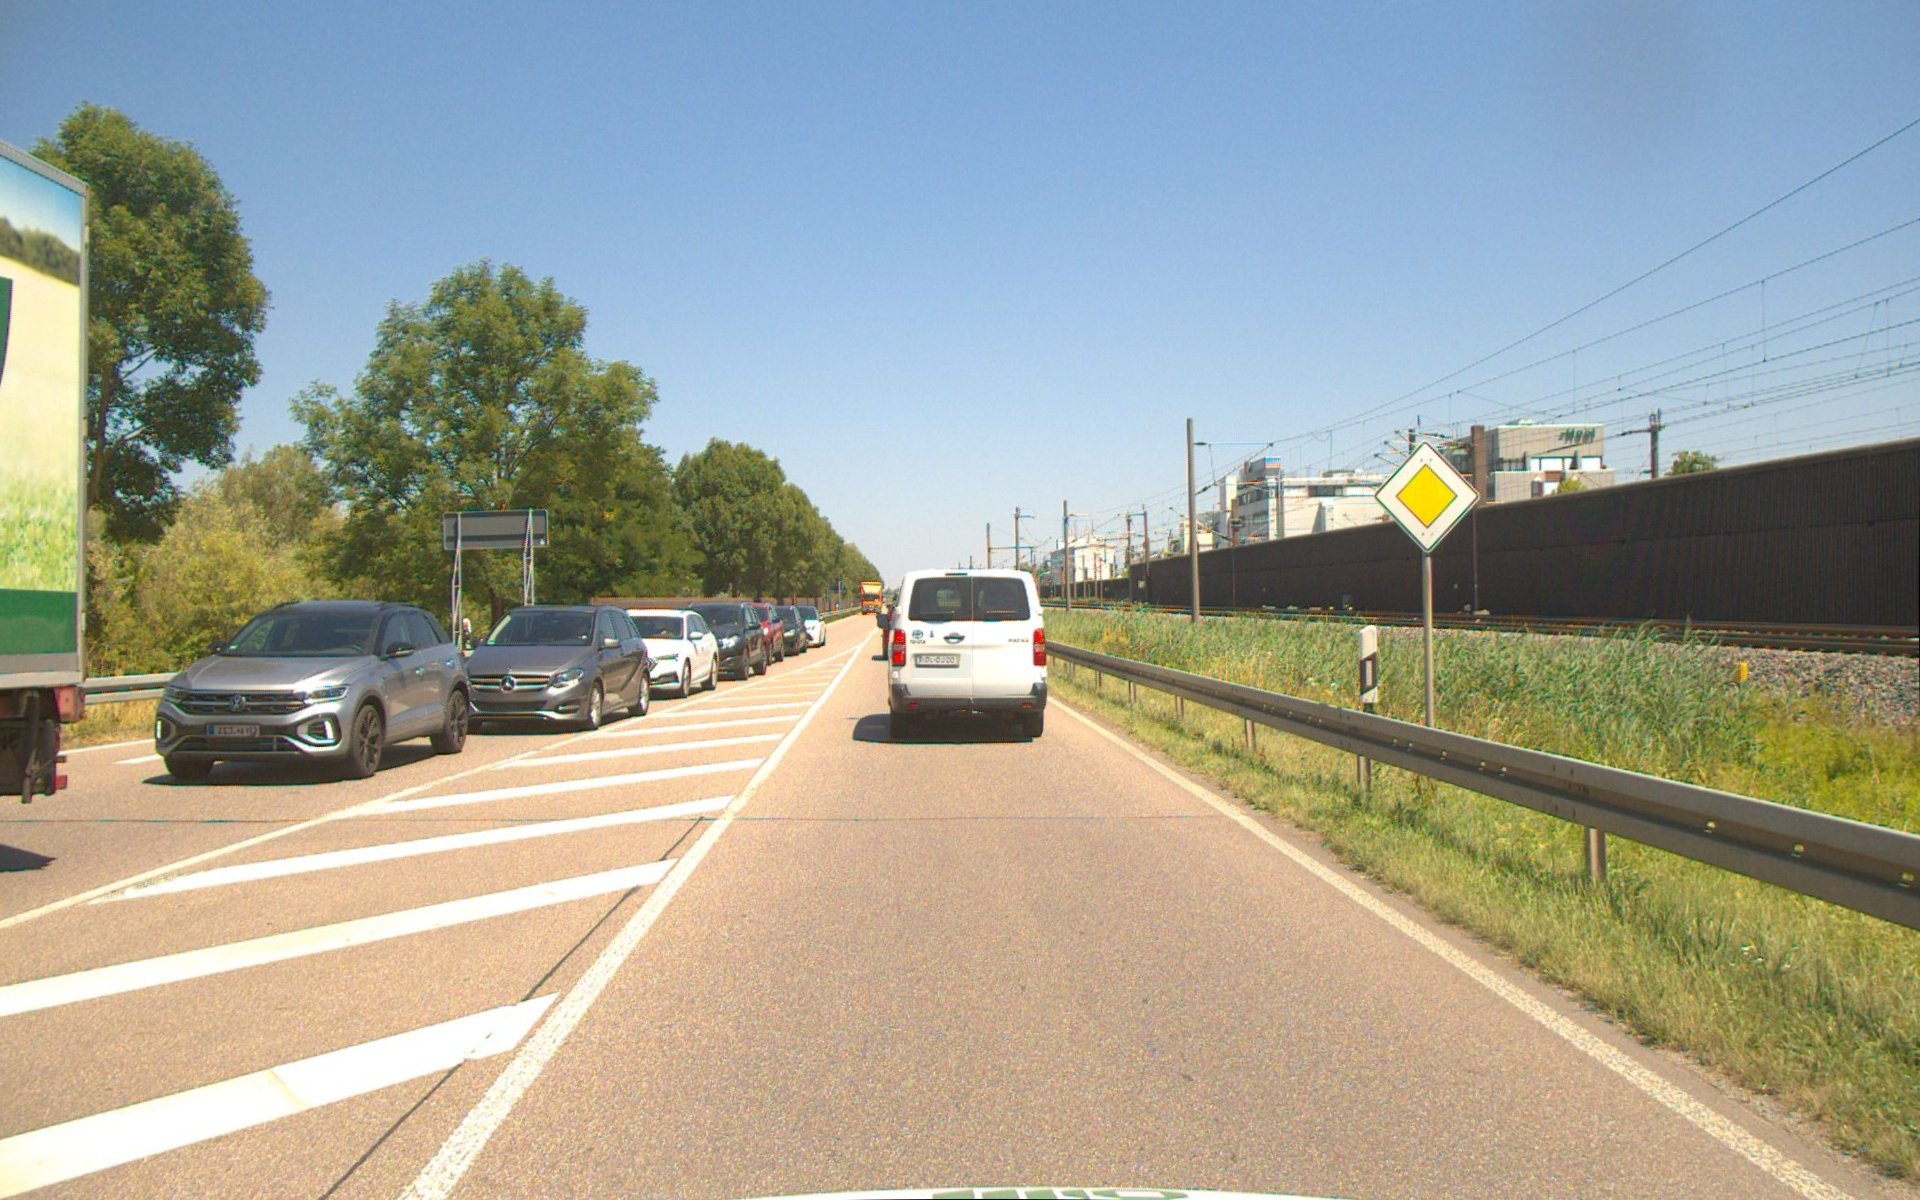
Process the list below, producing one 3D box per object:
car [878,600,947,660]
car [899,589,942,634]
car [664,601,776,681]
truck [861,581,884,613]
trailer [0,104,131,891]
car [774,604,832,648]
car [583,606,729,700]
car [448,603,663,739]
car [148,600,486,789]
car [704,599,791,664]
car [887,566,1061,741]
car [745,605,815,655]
[{"bbox_3d":[-1.414,0.838,48.080,1.868,1.678,4.138,0,0,-4],"label":"car"},{"bbox_3d":[-1.865,0.524,78.299,1.967,2.058,4.781,0,0,-1],"label":"car"},{"bbox_3d":[-5.159,0.831,36.081,1.681,1.617,4.535,0,0,1],"label":"car"},{"bbox_3d":[-10.790,-0.371,204.863,2.736,3.907,9.320,0,0,-2],"label":"truck"},{"bbox_3d":[-6.258,-0.570,2.931,2.634,4.116,14.121,0,0,-1],"label":"trailer"},{"bbox_3d":[-5.561,0.901,59.132,1.651,1.485,4.615,0,0,-1],"label":"car"},{"bbox_3d":[-5.281,0.868,29.285,1.619,1.504,4.631,0,0,2],"label":"car"},{"bbox_3d":[-5.211,0.847,21.883,1.590,1.564,4.385,-2,0,2],"label":"car"},{"bbox_3d":[-6.064,0.807,16.140,1.677,1.589,4.154,-1,0,0],"label":"car"},{"bbox_3d":[-5.649,0.805,44.450,1.719,1.660,4.279,0,0,1],"label":"car"},{"bbox_3d":[0.064,0.598,20.662,1.906,1.914,4.878,0,0,-2],"label":"car"},{"bbox_3d":[-5.572,0.900,51.529,1.651,1.485,4.616,0,0,0],"label":"car"}]
